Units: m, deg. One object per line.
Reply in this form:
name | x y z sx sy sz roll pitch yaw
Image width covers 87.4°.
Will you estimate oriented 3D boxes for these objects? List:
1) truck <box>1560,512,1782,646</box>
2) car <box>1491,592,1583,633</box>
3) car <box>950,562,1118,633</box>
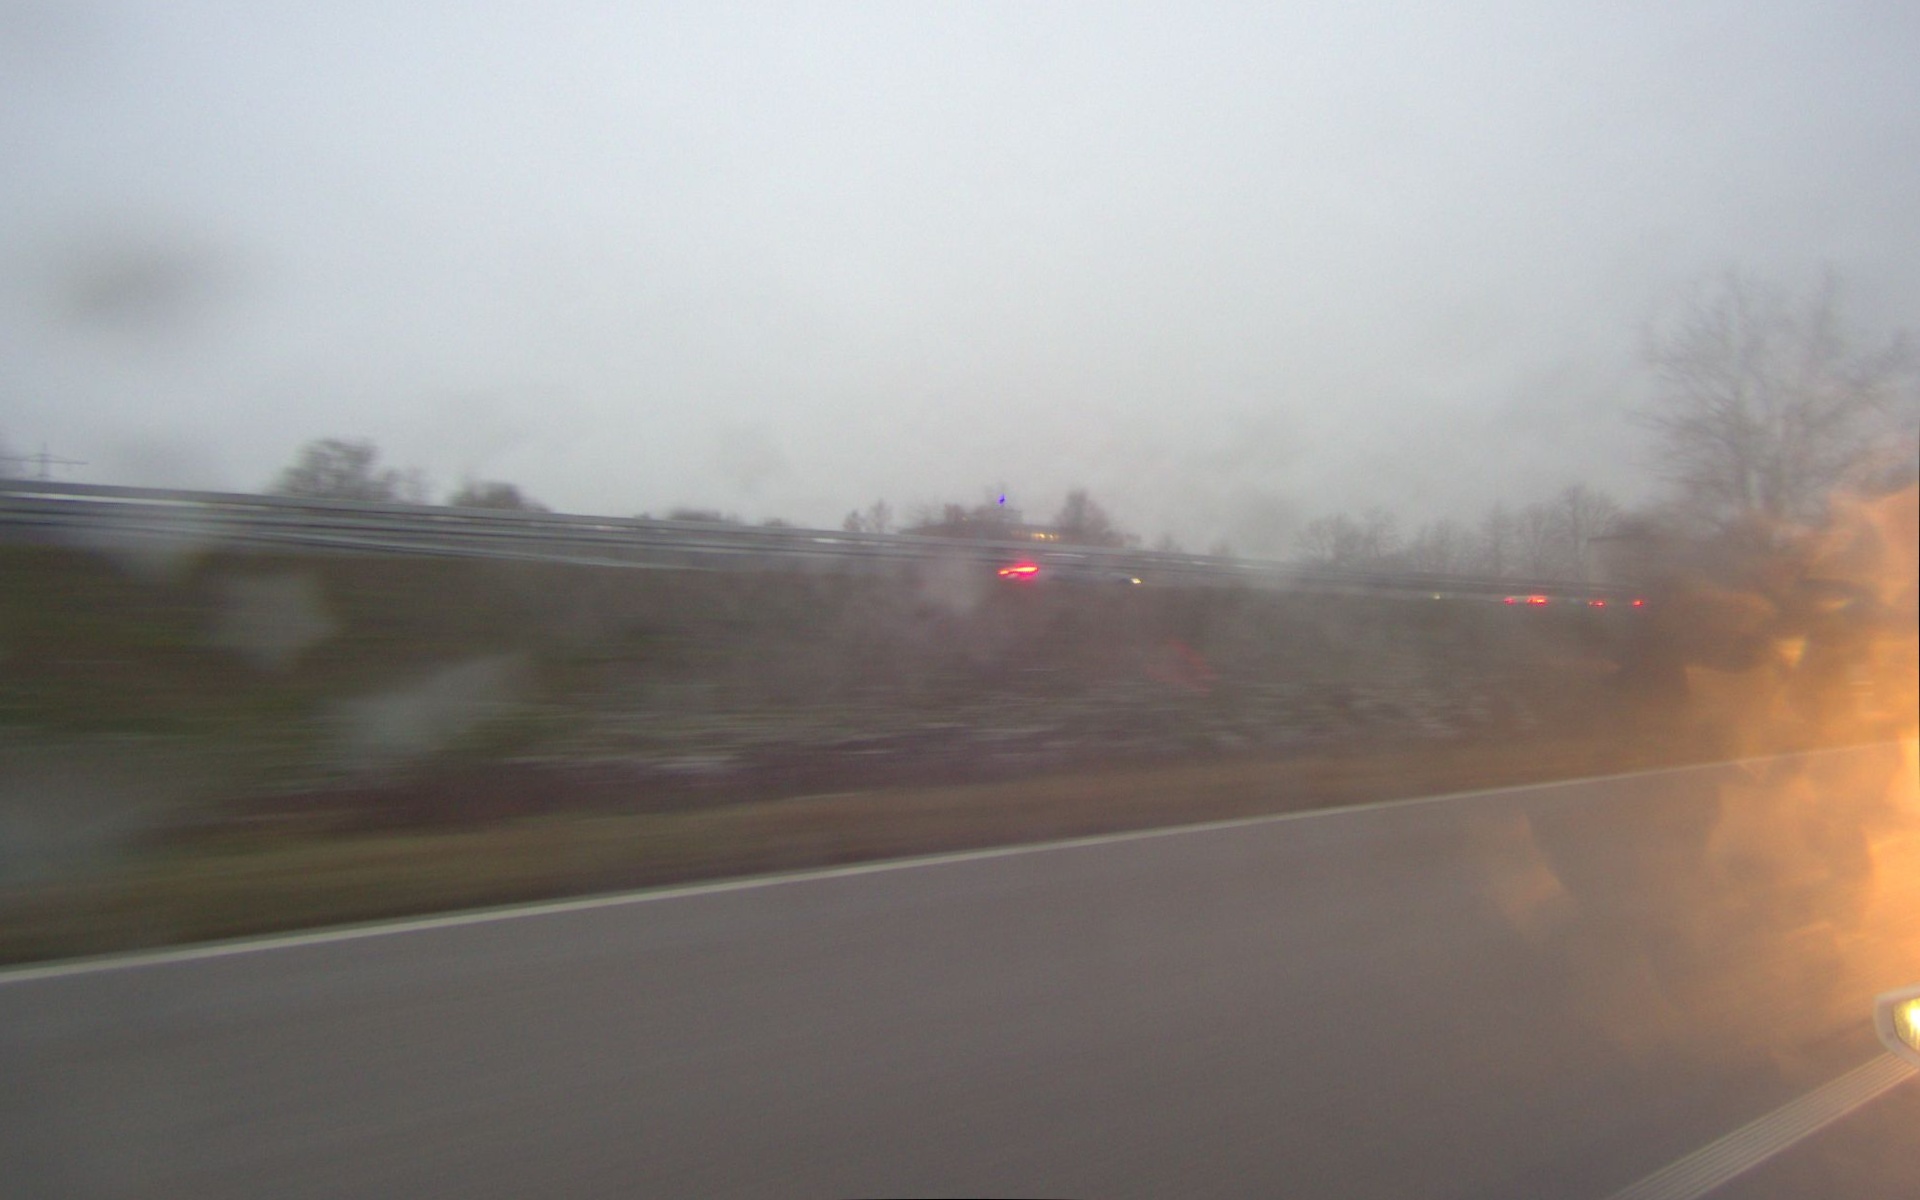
truck | 38.575 -0.866 54.094 15.558 6.372 3.744 2 0 -31
car | 31.008 0.664 53.958 5.042 2.040 1.985 2 0 -29
car | 2.385 -0.036 31.878 5.042 2.040 1.985 2 0 -29
